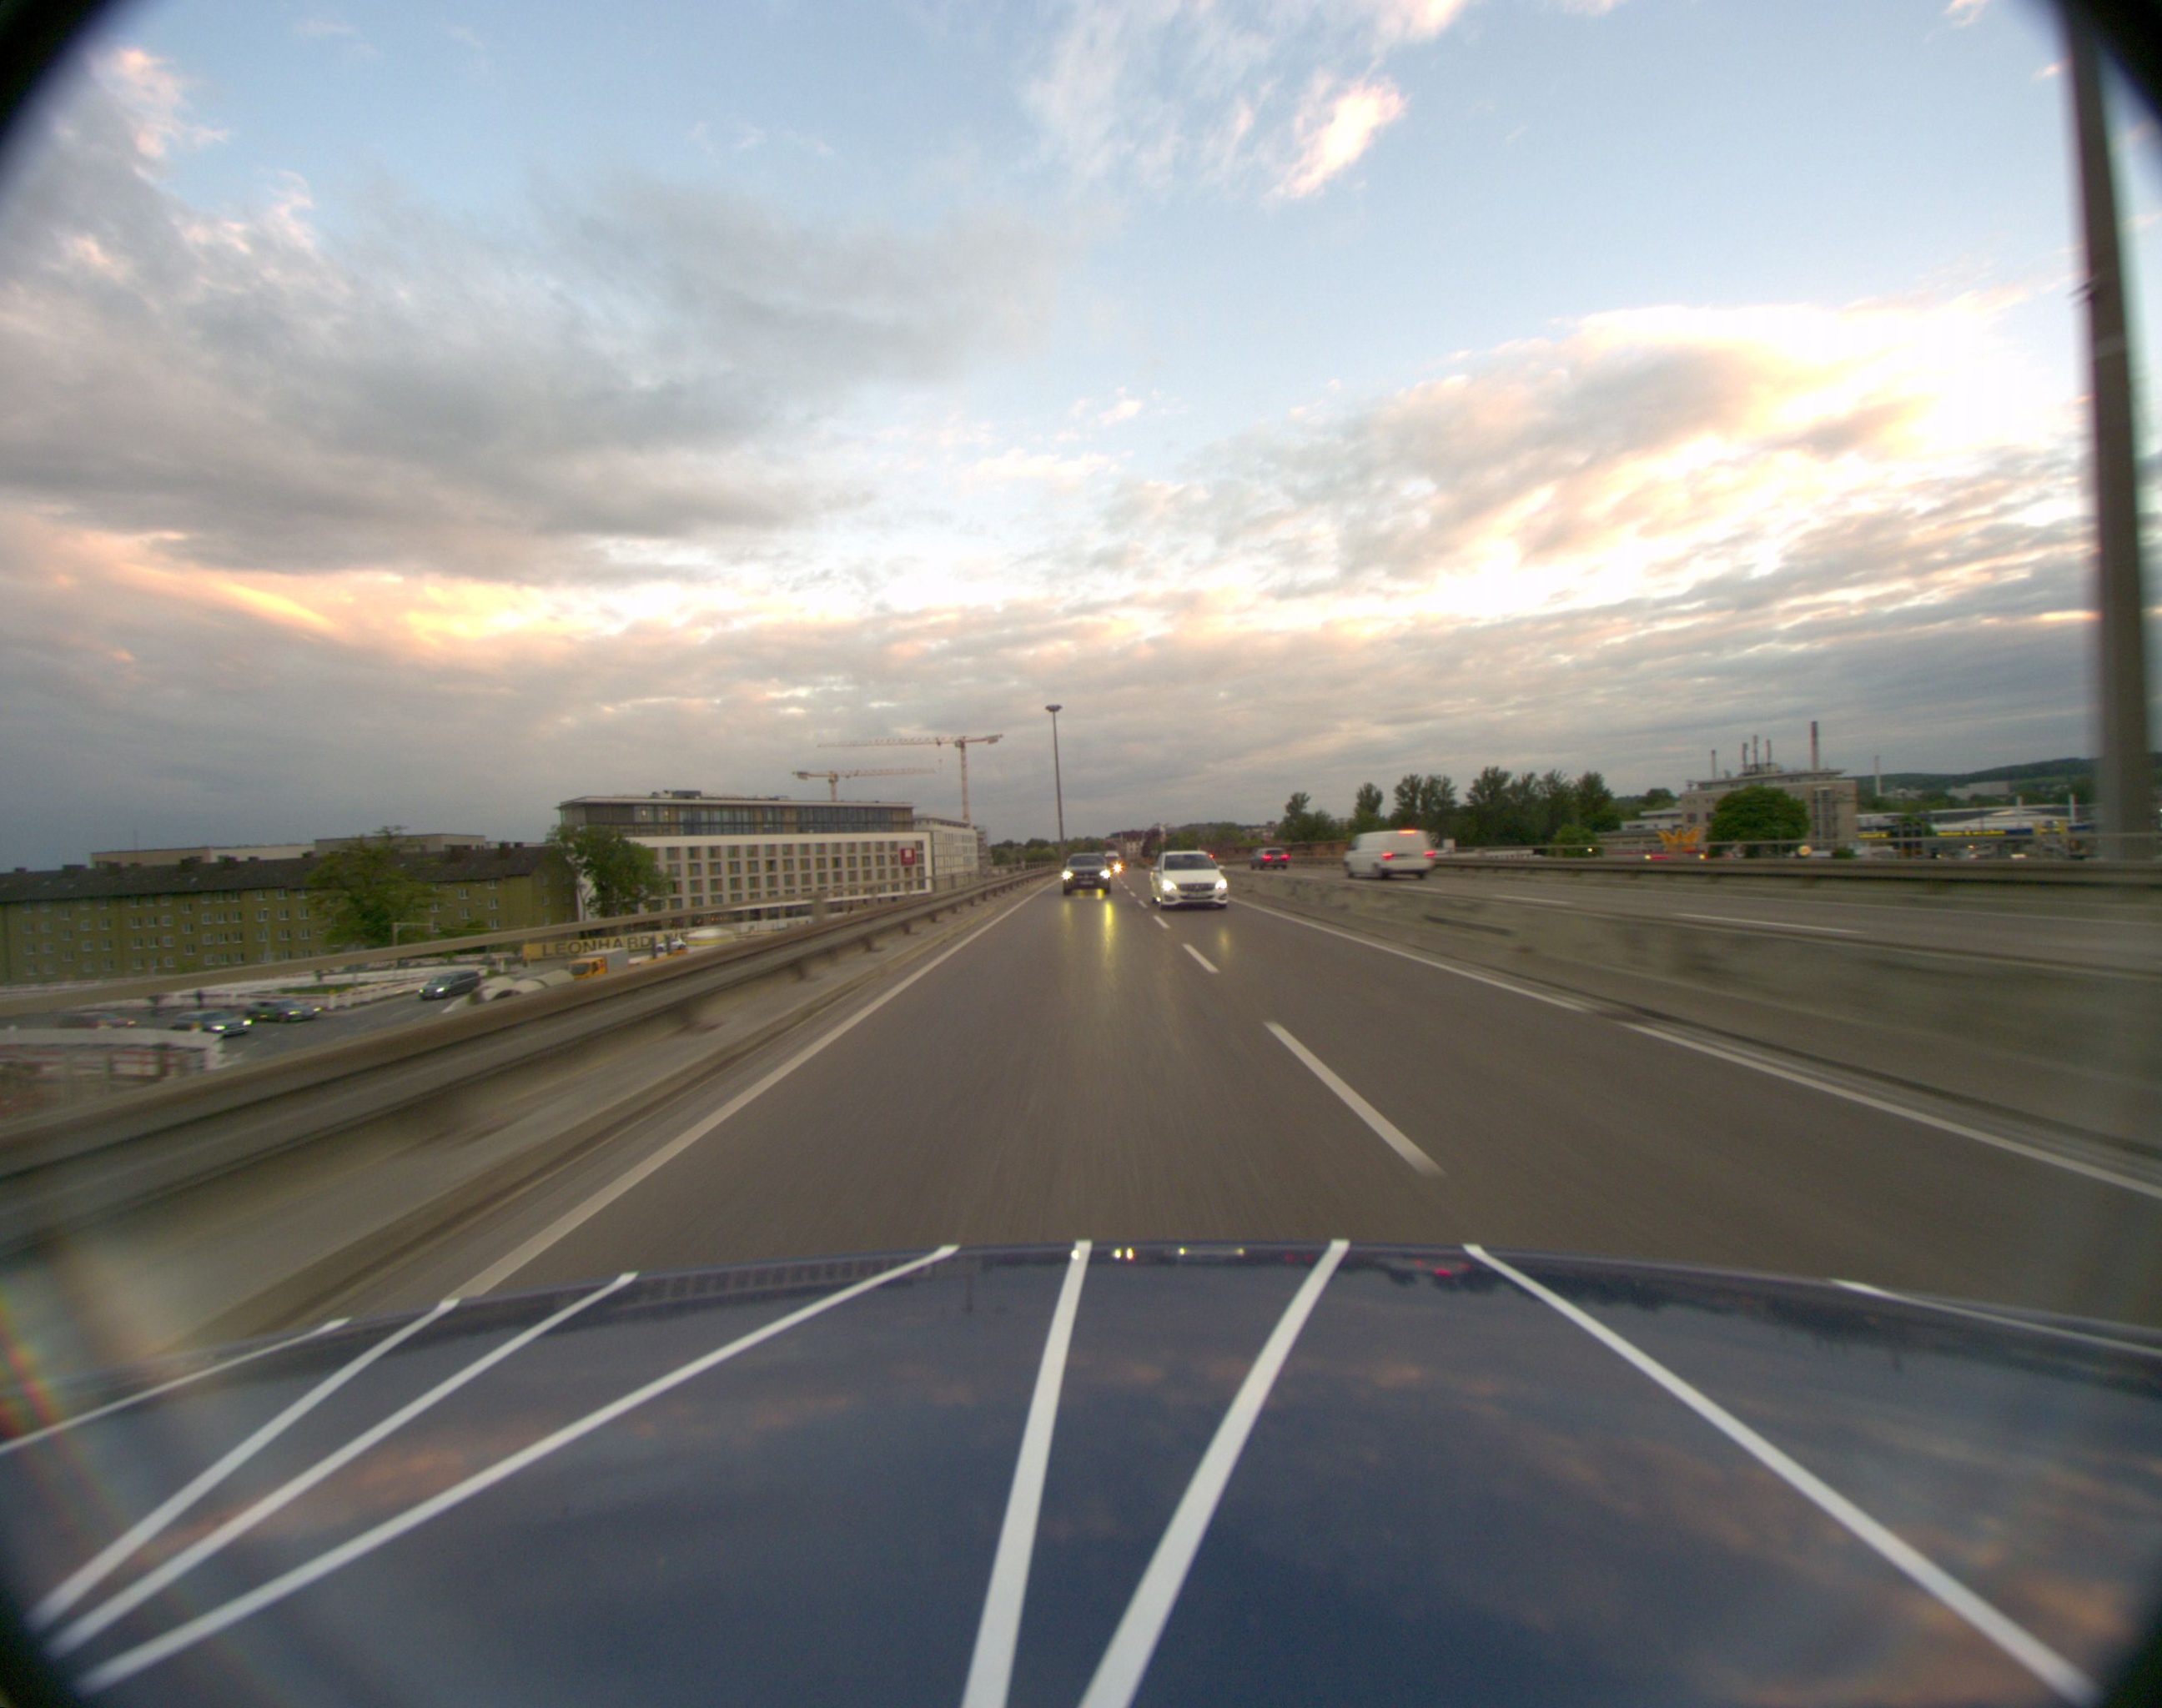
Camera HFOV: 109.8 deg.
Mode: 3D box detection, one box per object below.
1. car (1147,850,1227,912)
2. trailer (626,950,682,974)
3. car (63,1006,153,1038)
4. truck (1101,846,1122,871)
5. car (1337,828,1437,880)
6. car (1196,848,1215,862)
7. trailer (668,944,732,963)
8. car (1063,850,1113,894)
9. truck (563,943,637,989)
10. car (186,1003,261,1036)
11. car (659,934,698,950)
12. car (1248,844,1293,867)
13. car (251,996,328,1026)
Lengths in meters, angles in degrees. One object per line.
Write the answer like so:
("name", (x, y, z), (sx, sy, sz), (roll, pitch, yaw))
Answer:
("car", (2.911, 0.720, 21.770), (1.695, 1.528, 4.784), (-2, -1, 1))
("trailer", (-42.526, 10.695, 75.802), (1.998, 1.339, 5.874), (-8, -1, 1))
("car", (-65.745, 11.338, 51.381), (3.765, 1.609, 1.649), (-3, 1, -1))
("truck", (5.565, 0.698, 138.064), (3.164, 4.369, 8.795), (-2, 1, 5))
("car", (12.458, -0.018, 31.349), (1.906, 1.889, 5.459), (-2, 0, 0))
("car", (14.827, 0.080, 90.599), (1.661, 1.584, 4.043), (-2, 1, 2))
("trailer", (-40.617, 10.585, 81.151), (5.877, 1.340, 2.024), (-2, 1, -18))
("car", (0.315, 0.702, 30.493), (1.823, 1.602, 4.213), (-1, 0, 2))
("truck", (-42.968, 9.962, 68.191), (2.163, 2.930, 7.335), (-5, -1, -4))
("car", (-56.311, 10.869, 49.894), (3.788, 1.729, 1.647), (-4, 1, 15))
("car", (-50.724, 11.082, 95.759), (4.006, 1.433, 1.908), (-4, 0, -38))
("car", (13.135, 0.100, 52.987), (1.833, 1.465, 4.901), (-2, 0, -1))
("car", (-57.099, 11.302, 54.860), (4.095, 1.710, 1.804), (-2, 3, 11))
